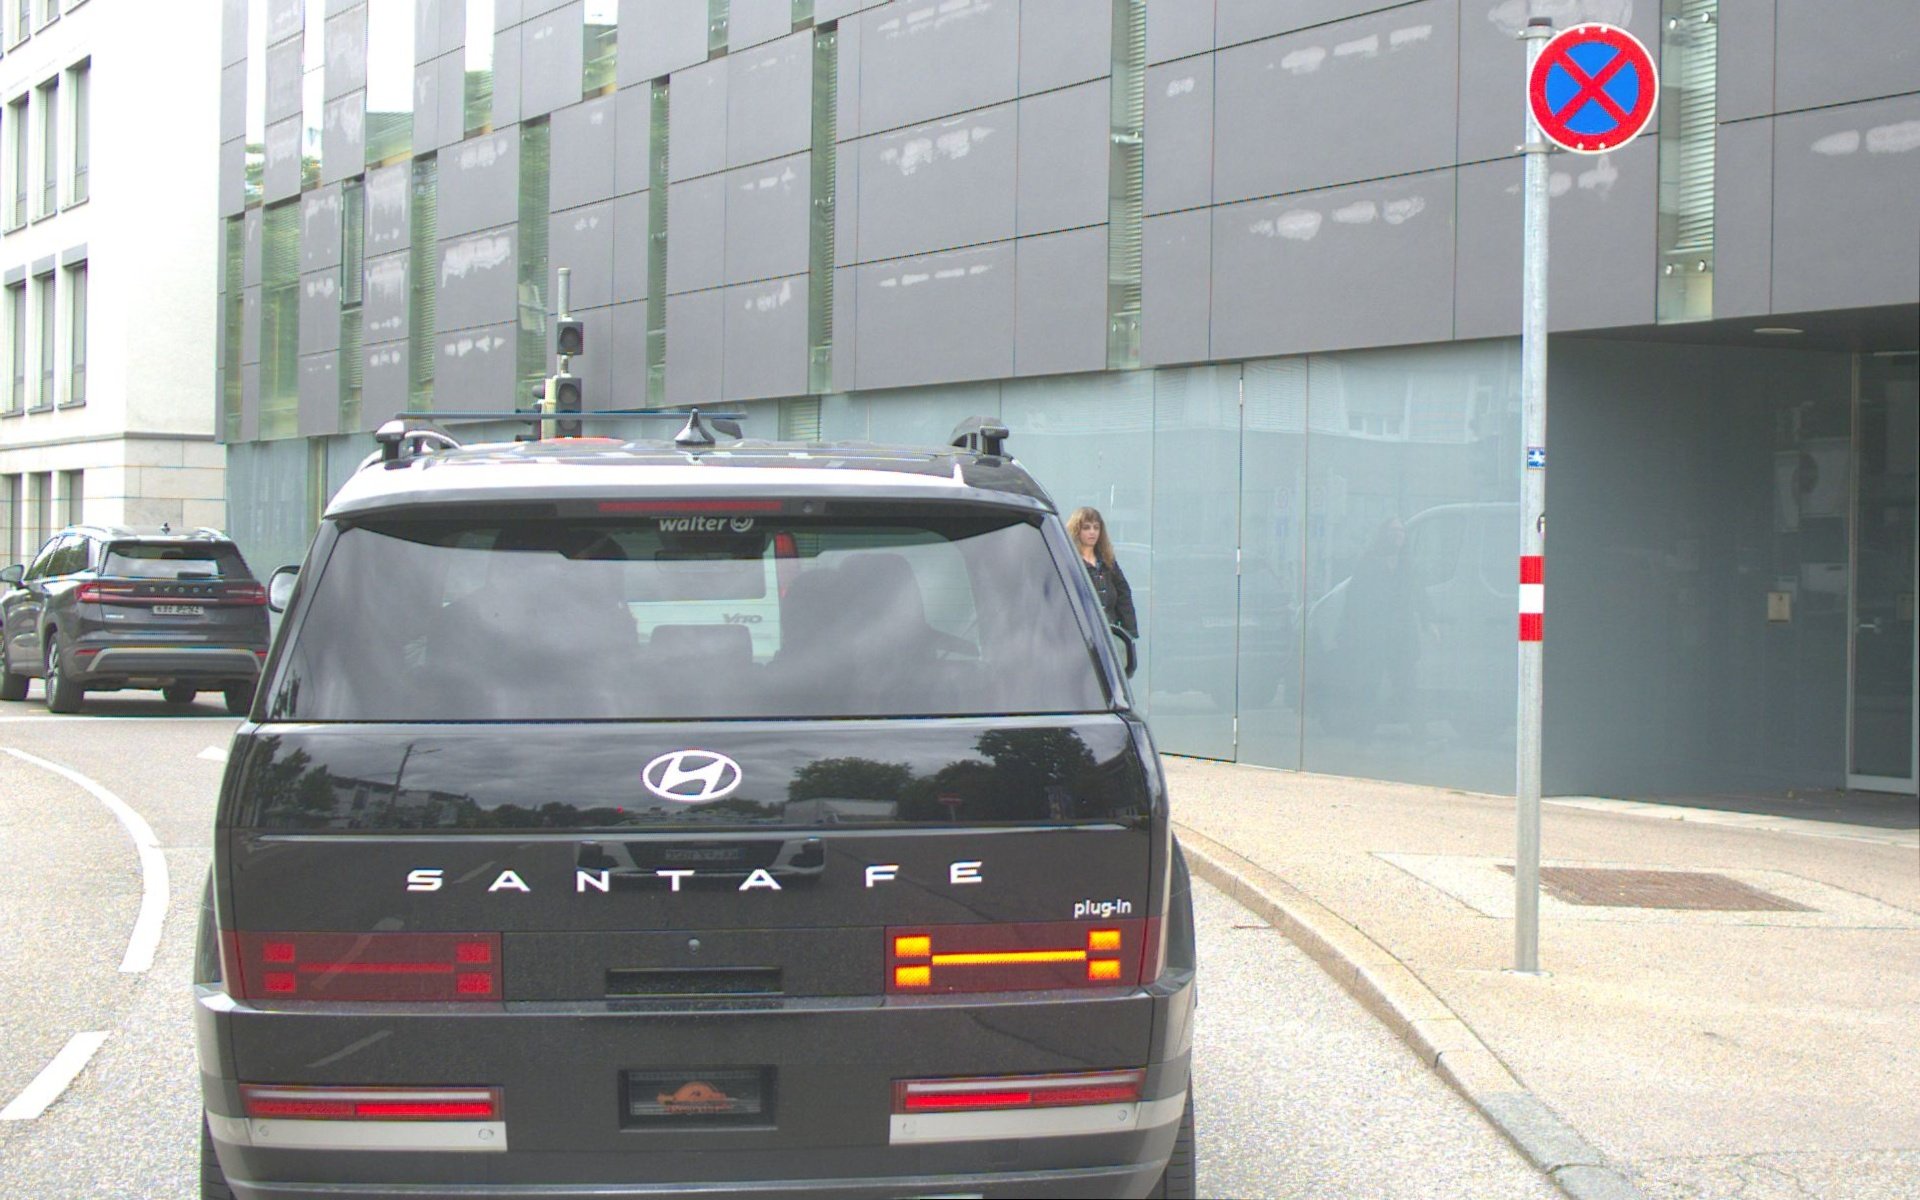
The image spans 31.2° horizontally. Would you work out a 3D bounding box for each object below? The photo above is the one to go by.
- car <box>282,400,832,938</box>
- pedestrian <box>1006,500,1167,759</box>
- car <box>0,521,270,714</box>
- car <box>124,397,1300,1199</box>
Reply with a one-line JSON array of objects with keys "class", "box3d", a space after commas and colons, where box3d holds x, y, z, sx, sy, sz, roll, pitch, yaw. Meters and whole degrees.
[{"class": "car", "box3d": [-1.936, 0.226, 15.123, 1.931, 1.987, 4.536, 1, 1, -12]}, {"class": "pedestrian", "box3d": [0.841, 0.189, 23.009, 0.711, 1.688, 0.866, 2, 0, -25]}, {"class": "car", "box3d": [-7.516, 0.111, 30.929, 1.759, 1.603, 4.189, 1, 1, -23]}, {"class": "car", "box3d": [-0.640, 0.509, 7.780, 1.908, 1.743, 4.398, 0, 1, -7]}]
